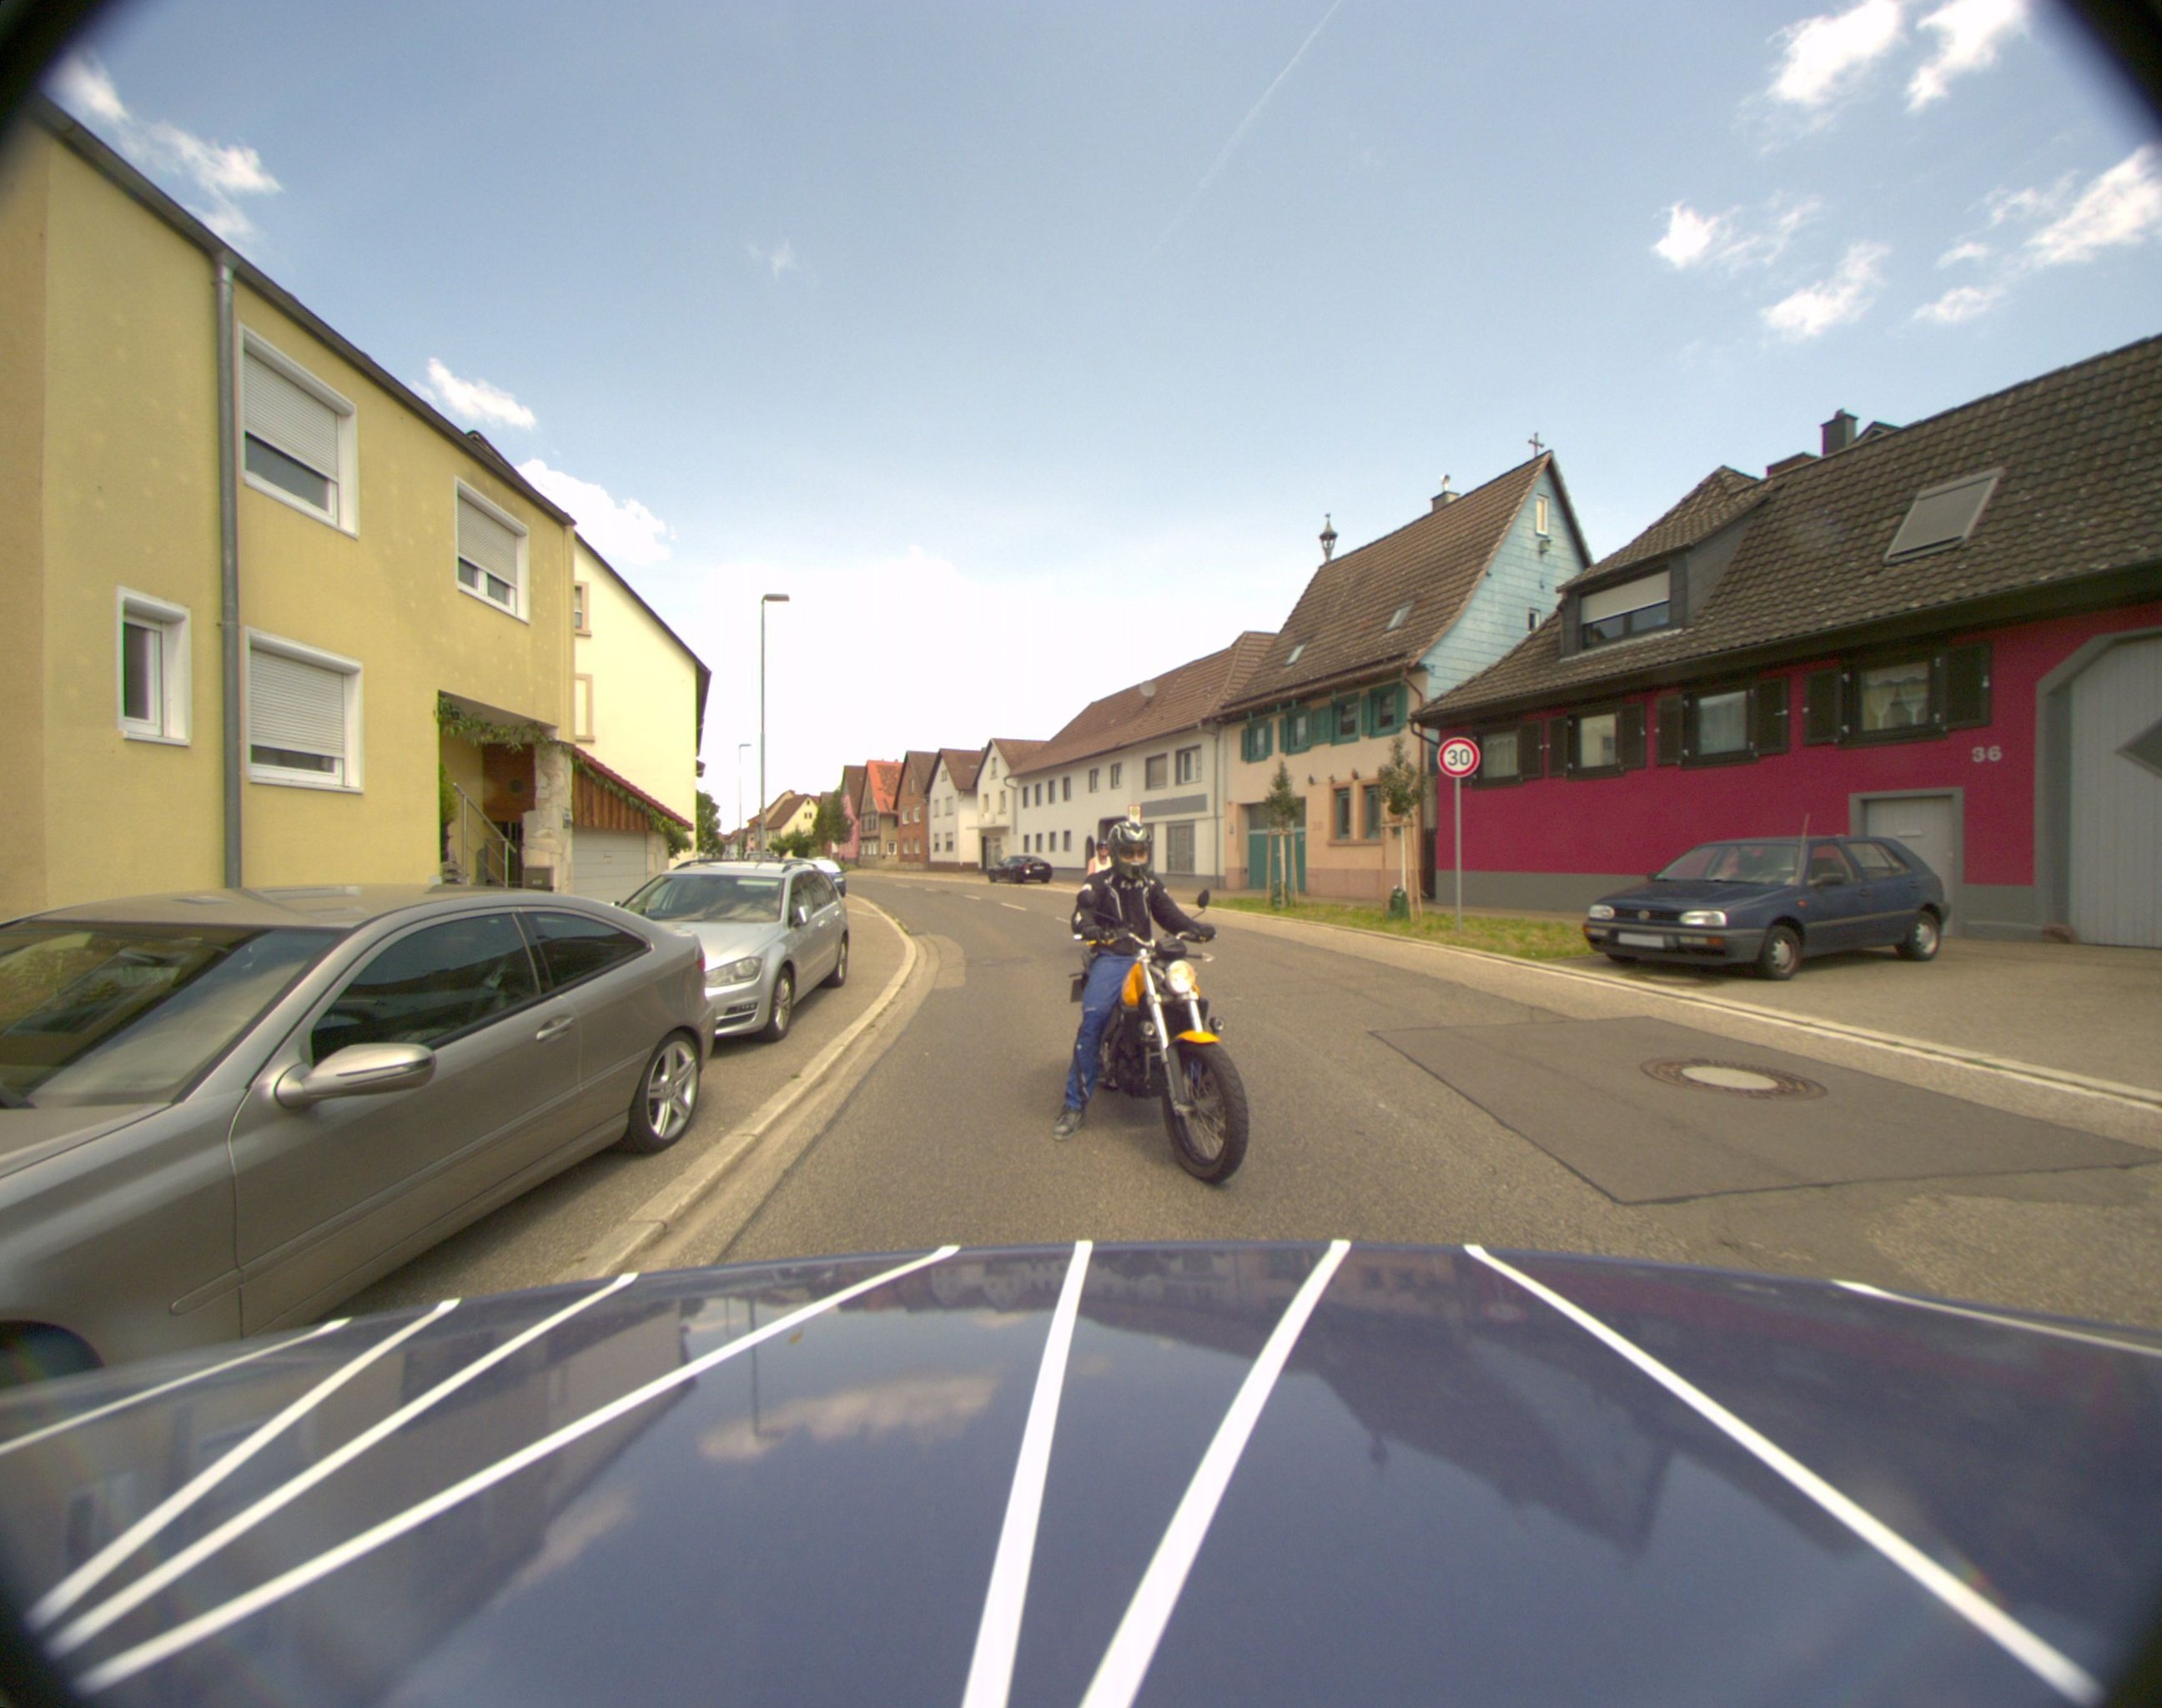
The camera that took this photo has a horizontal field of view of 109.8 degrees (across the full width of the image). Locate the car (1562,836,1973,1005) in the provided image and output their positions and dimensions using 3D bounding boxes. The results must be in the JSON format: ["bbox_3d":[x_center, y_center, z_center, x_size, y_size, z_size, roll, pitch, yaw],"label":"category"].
[{"bbox_3d":[7.610,0.595,8.455,3.983,1.456,1.718,-2,1,-20],"label":"car"}]

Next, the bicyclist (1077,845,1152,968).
[{"bbox_3d":[0.471,0.730,11.055,0.910,1.679,0.760,-2,2,-10],"label":"bicyclist"}]

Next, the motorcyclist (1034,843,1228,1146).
[{"bbox_3d":[0.276,0.747,4.437,1.000,1.591,0.799,-1,2,1],"label":"motorcyclist"}]

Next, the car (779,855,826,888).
[{"bbox_3d":[-13.726,0.890,37.336,1.776,1.520,3.993,-1,-1,-25],"label":"car"}]

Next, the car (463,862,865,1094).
[{"bbox_3d":[-3.501,0.901,7.459,1.890,1.521,4.333,2,0,-6],"label":"car"}]

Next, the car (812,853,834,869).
[{"bbox_3d":[-27.569,0.752,81.074,1.687,1.521,3.491,-2,2,-26],"label":"car"}]

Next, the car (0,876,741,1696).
[{"bbox_3d":[-2.994,0.914,2.443,1.774,1.392,4.423,2,1,0],"label":"car"}]

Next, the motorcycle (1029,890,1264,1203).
[{"bbox_3d":[0.307,0.908,4.420,0.985,1.234,2.103,-3,1,1],"label":"motorcycle"}]

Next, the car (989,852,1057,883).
[{"bbox_3d":[-2.958,0.648,37.829,1.812,1.412,4.541,-2,0,-26],"label":"car"}]

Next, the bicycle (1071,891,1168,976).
[{"bbox_3d":[0.501,1.093,11.011,0.934,1.005,1.923,-2,0,-11],"label":"bicycle"}]

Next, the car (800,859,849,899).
[{"bbox_3d":[-10.219,0.937,30.221,1.730,1.378,3.992,0,1,-19],"label":"car"}]

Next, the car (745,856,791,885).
[{"bbox_3d":[-18.992,0.976,46.041,1.669,1.638,3.989,-3,1,-35],"label":"car"}]
